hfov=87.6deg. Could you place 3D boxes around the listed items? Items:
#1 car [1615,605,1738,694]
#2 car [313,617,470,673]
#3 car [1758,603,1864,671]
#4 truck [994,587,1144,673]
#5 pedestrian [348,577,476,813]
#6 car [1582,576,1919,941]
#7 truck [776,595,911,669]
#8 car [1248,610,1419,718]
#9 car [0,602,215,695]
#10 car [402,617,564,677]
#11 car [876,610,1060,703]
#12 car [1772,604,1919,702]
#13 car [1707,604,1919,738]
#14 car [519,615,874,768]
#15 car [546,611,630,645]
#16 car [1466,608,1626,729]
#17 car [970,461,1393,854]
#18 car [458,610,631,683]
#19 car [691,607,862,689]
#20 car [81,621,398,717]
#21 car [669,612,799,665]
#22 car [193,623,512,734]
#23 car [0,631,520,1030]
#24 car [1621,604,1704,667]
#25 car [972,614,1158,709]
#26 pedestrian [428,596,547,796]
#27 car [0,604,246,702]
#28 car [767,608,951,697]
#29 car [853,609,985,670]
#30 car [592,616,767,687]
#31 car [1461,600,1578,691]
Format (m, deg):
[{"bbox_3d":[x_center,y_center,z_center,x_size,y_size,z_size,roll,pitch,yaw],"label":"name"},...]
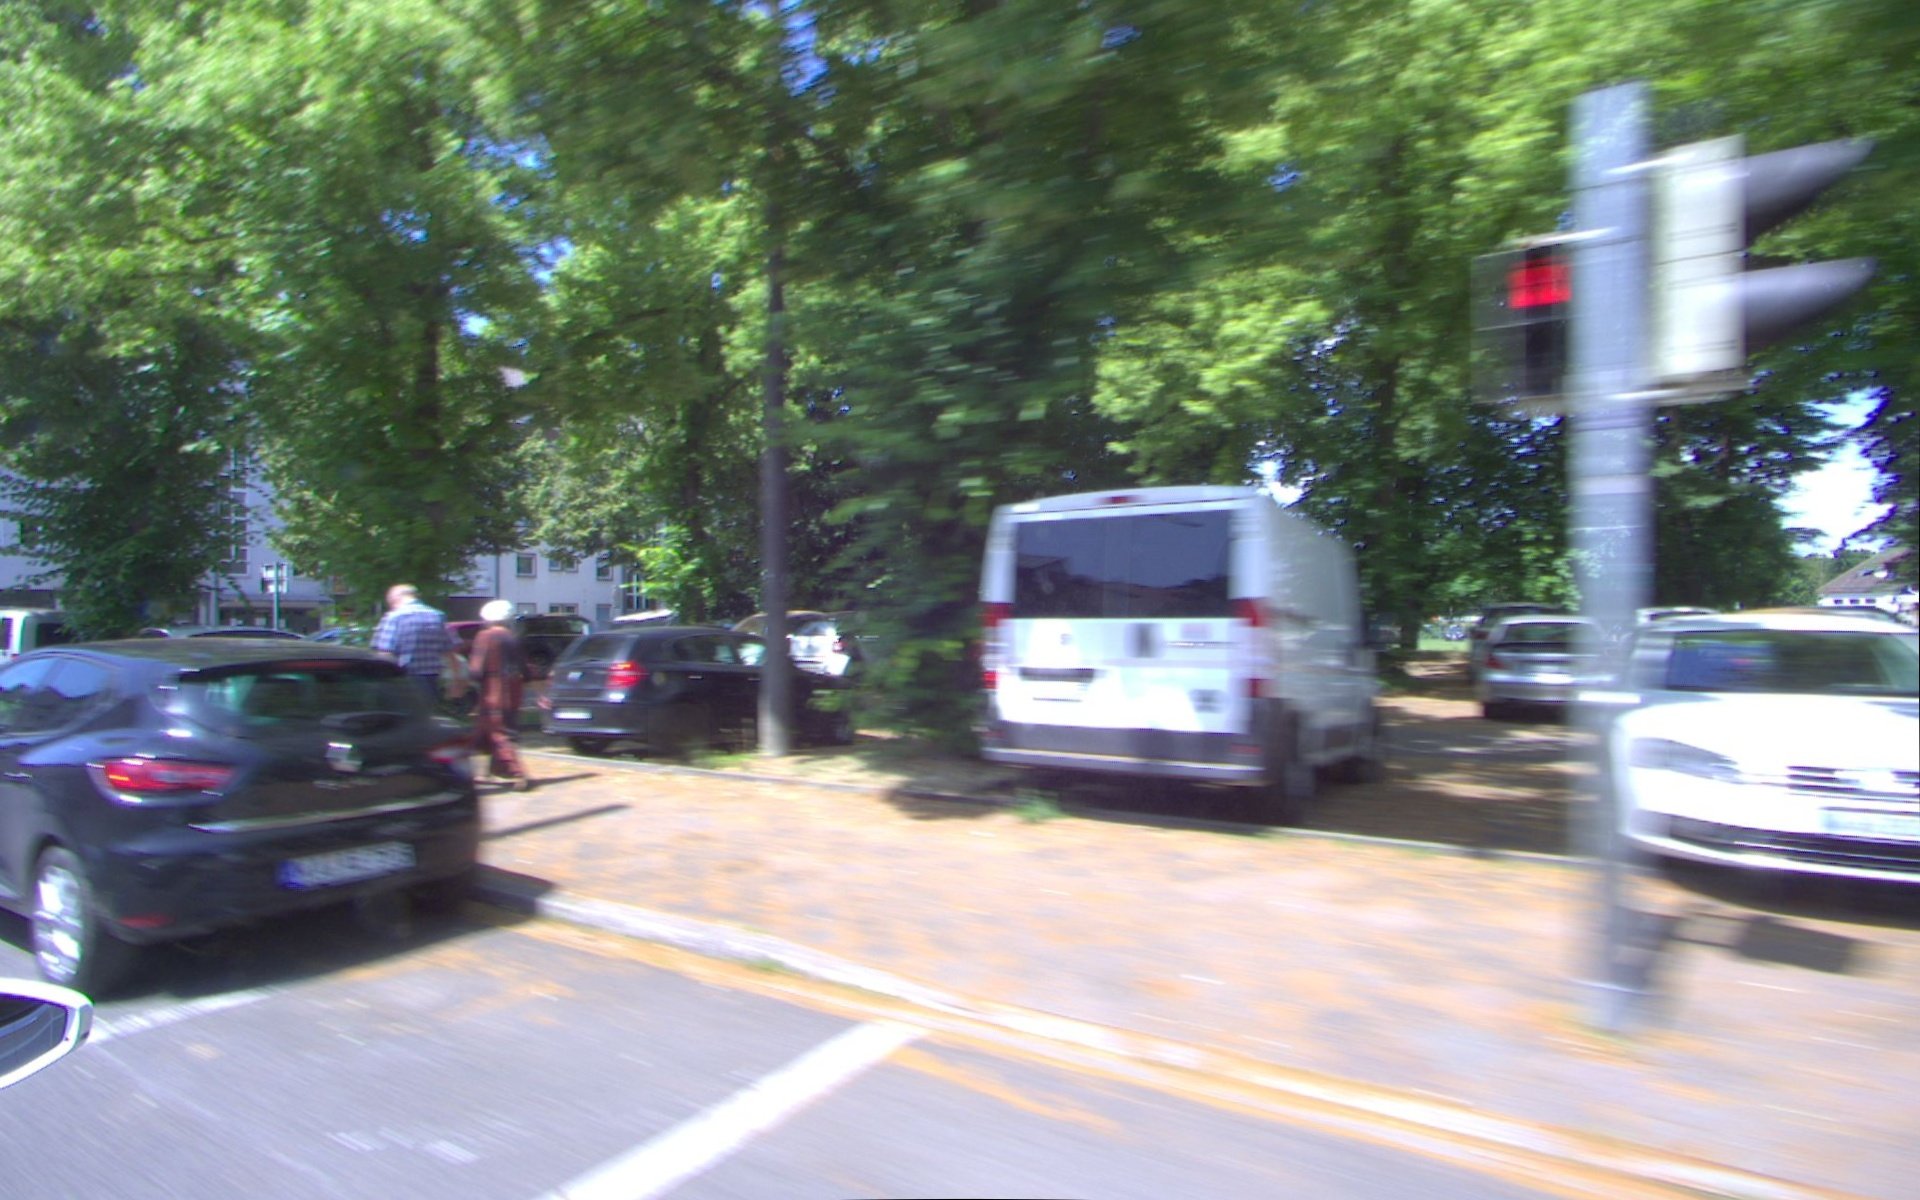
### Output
[{"bbox_3d":[13.322,0.847,18.782,1.714,1.484,3.788,-1,0,34],"label":"car"},{"bbox_3d":[-17.676,1.364,31.327,1.656,1.574,3.982,-1,-1,29],"label":"car"},{"bbox_3d":[21.485,0.891,25.410,1.715,1.588,3.786,-1,-1,35],"label":"car"},{"bbox_3d":[2.657,0.668,23.663,1.852,1.838,4.111,-1,-1,33],"label":"truck"},{"bbox_3d":[-4.392,0.733,8.032,0.726,1.787,0.616,-1,-1,31],"label":"pedestrian"},{"bbox_3d":[4.951,0.770,6.118,1.782,1.512,4.322,-1,-3,30],"label":"car"},{"bbox_3d":[-3.171,0.845,27.861,1.714,1.906,3.789,-1,-1,33],"label":"truck"},{"bbox_3d":[6.165,0.933,16.237,1.779,1.492,3.978,-1,-1,33],"label":"car"},{"bbox_3d":[-18.352,0.984,20.956,1.987,1.773,3.982,-1,-2,31],"label":"car"},{"bbox_3d":[-13.572,1.305,28.713,1.656,1.548,3.982,-1,-1,29],"label":"car"},{"bbox_3d":[0.269,1.034,19.829,1.779,1.607,3.978,-1,-1,33],"label":"car"},{"bbox_3d":[15.305,0.841,17.228,1.714,1.511,3.788,-1,-1,34],"label":"car"},{"bbox_3d":[11.174,0.816,13.246,1.779,1.492,3.978,-1,-1,33],"label":"car"},{"bbox_3d":[-2.919,1.000,11.902,1.693,1.491,3.980,-1,-3,33],"label":"car"},{"bbox_3d":[-20.123,1.541,54.351,1.602,1.757,4.370,-1,-2,27],"label":"car"},{"bbox_3d":[8.655,0.887,14.696,1.779,1.492,3.978,-1,-1,33],"label":"car"},{"bbox_3d":[2.160,0.462,8.394,2.075,2.304,4.597,-1,-3,32],"label":"car"},{"bbox_3d":[-10.684,1.145,25.999,1.675,1.701,3.983,-1,-1,28],"label":"car"},{"bbox_3d":[-4.072,1.022,22.801,1.656,1.662,3.982,-1,-1,29],"label":"car"},{"bbox_3d":[-11.989,1.101,16.949,1.781,1.416,3.984,-1,-2,30],"label":"car"},{"bbox_3d":[-6.743,1.121,30.227,1.712,1.478,3.793,-1,-1,30],"label":"car"},{"bbox_3d":[-9.314,1.116,15.679,1.645,1.447,3.979,-1,-1,32],"label":"car"},{"bbox_3d":[-4.326,0.895,5.425,3.943,1.446,1.660,-1,-1,32],"label":"car"},{"bbox_3d":[19.008,0.923,27.112,1.715,1.587,3.786,-1,-1,35],"label":"car"},{"bbox_3d":[2.036,1.041,18.340,1.779,1.492,3.978,-1,-1,33],"label":"car"},{"bbox_3d":[-4.013,0.788,8.522,0.726,1.613,0.616,-1,-1,31],"label":"pedestrian"},{"bbox_3d":[-16.277,0.956,19.325,1.637,1.689,3.762,-1,-1,27],"label":"car"},{"bbox_3d":[-2.041,1.031,21.256,1.779,1.683,3.978,-1,-1,33],"label":"car"},{"bbox_3d":[-0.996,0.980,26.223,1.712,1.478,3.793,-1,-1,29],"label":"car"},{"bbox_3d":[-6.530,1.157,23.750,1.656,1.502,3.982,-1,-1,29],"label":"car"},{"bbox_3d":[11.000,0.810,19.580,1.714,1.609,3.788,-1,0,34],"label":"car"}]
